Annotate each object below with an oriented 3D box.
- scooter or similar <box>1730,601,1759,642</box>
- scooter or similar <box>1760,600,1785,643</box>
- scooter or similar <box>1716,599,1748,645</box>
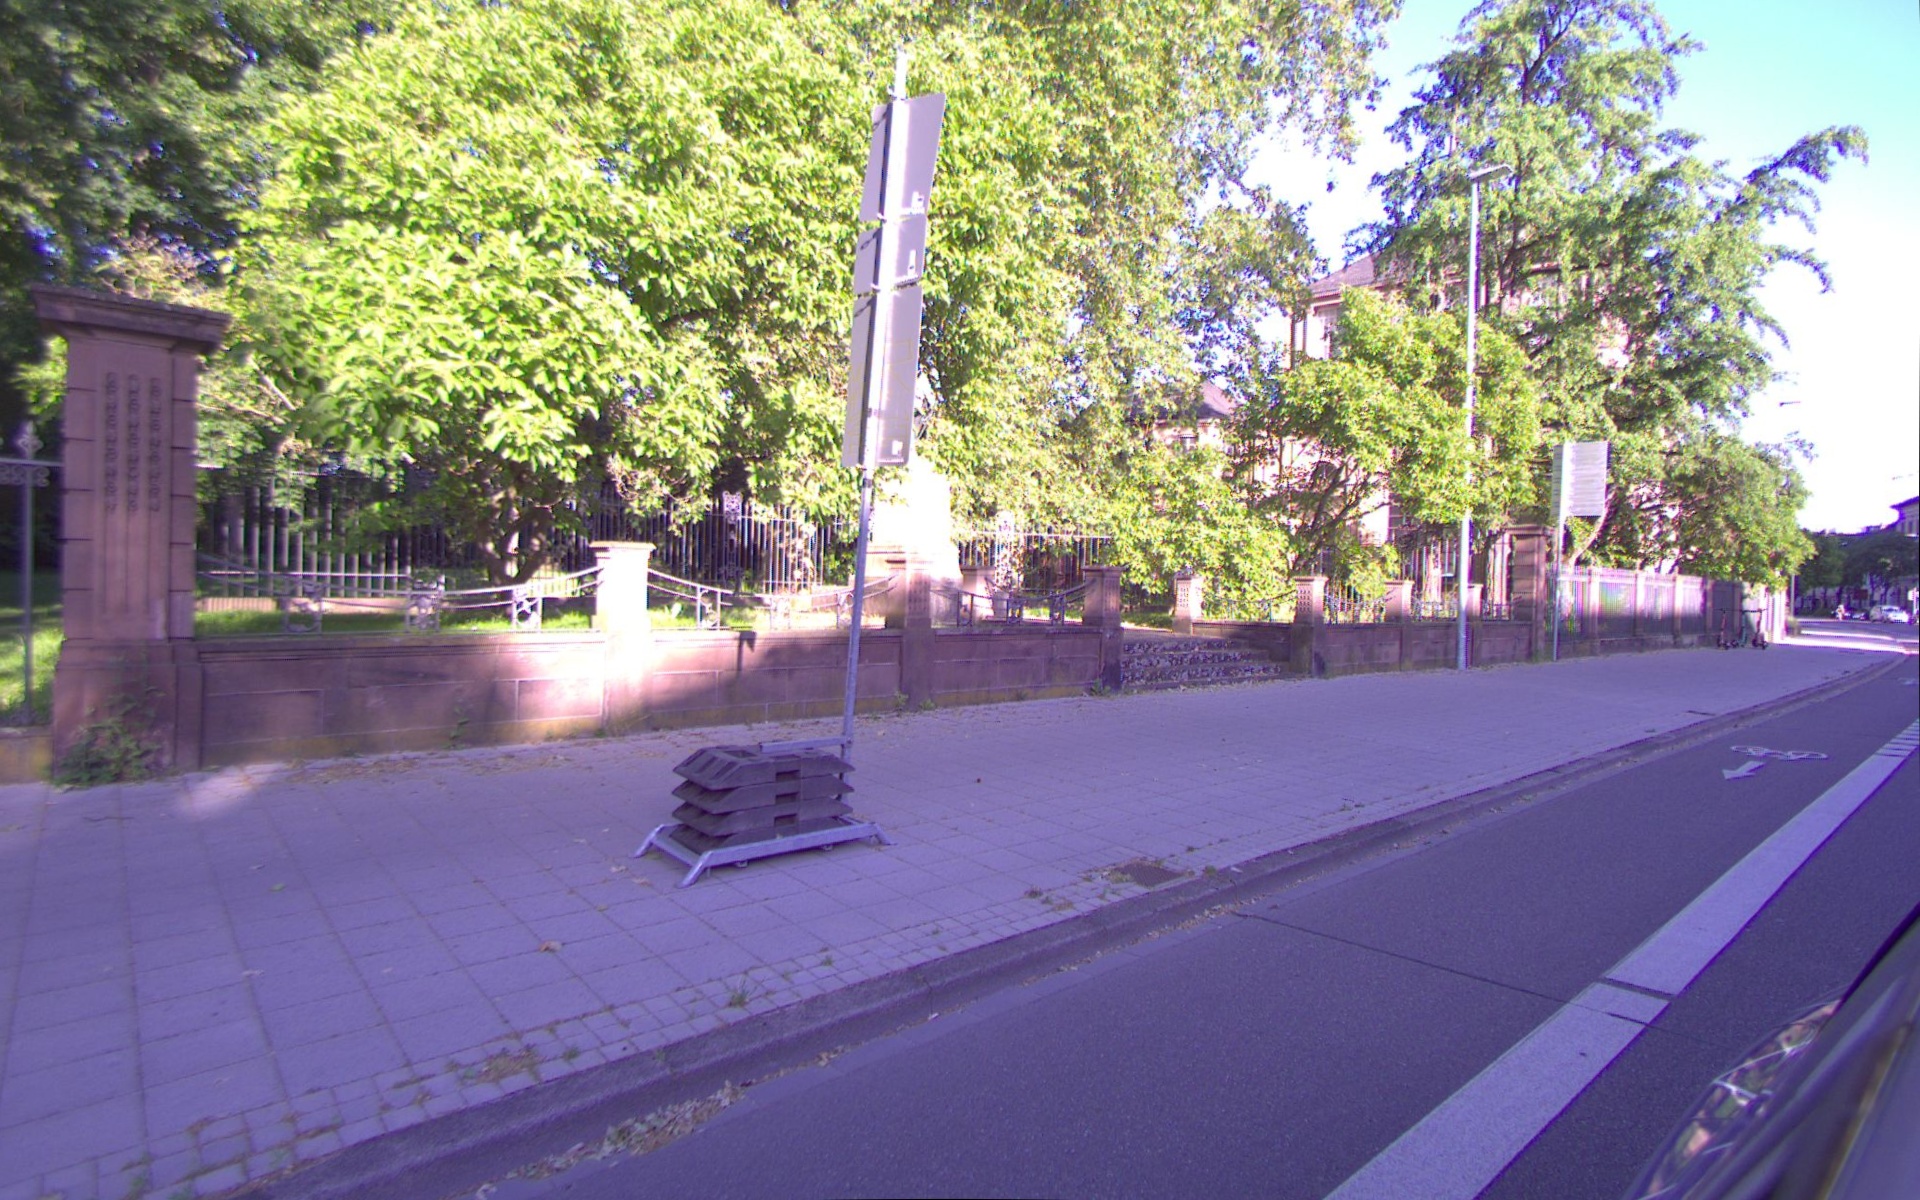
[{"bbox_3d":[23.616,0.631,30.443,0.574,1.199,1.465,3,2,41],"label":"scooter or similar"},{"bbox_3d":[24.716,0.642,30.792,0.514,1.255,1.502,2,2,37],"label":"scooter or similar"},{"bbox_3d":[22.269,0.614,29.218,0.572,1.269,1.470,2,2,33],"label":"scooter or similar"}]
